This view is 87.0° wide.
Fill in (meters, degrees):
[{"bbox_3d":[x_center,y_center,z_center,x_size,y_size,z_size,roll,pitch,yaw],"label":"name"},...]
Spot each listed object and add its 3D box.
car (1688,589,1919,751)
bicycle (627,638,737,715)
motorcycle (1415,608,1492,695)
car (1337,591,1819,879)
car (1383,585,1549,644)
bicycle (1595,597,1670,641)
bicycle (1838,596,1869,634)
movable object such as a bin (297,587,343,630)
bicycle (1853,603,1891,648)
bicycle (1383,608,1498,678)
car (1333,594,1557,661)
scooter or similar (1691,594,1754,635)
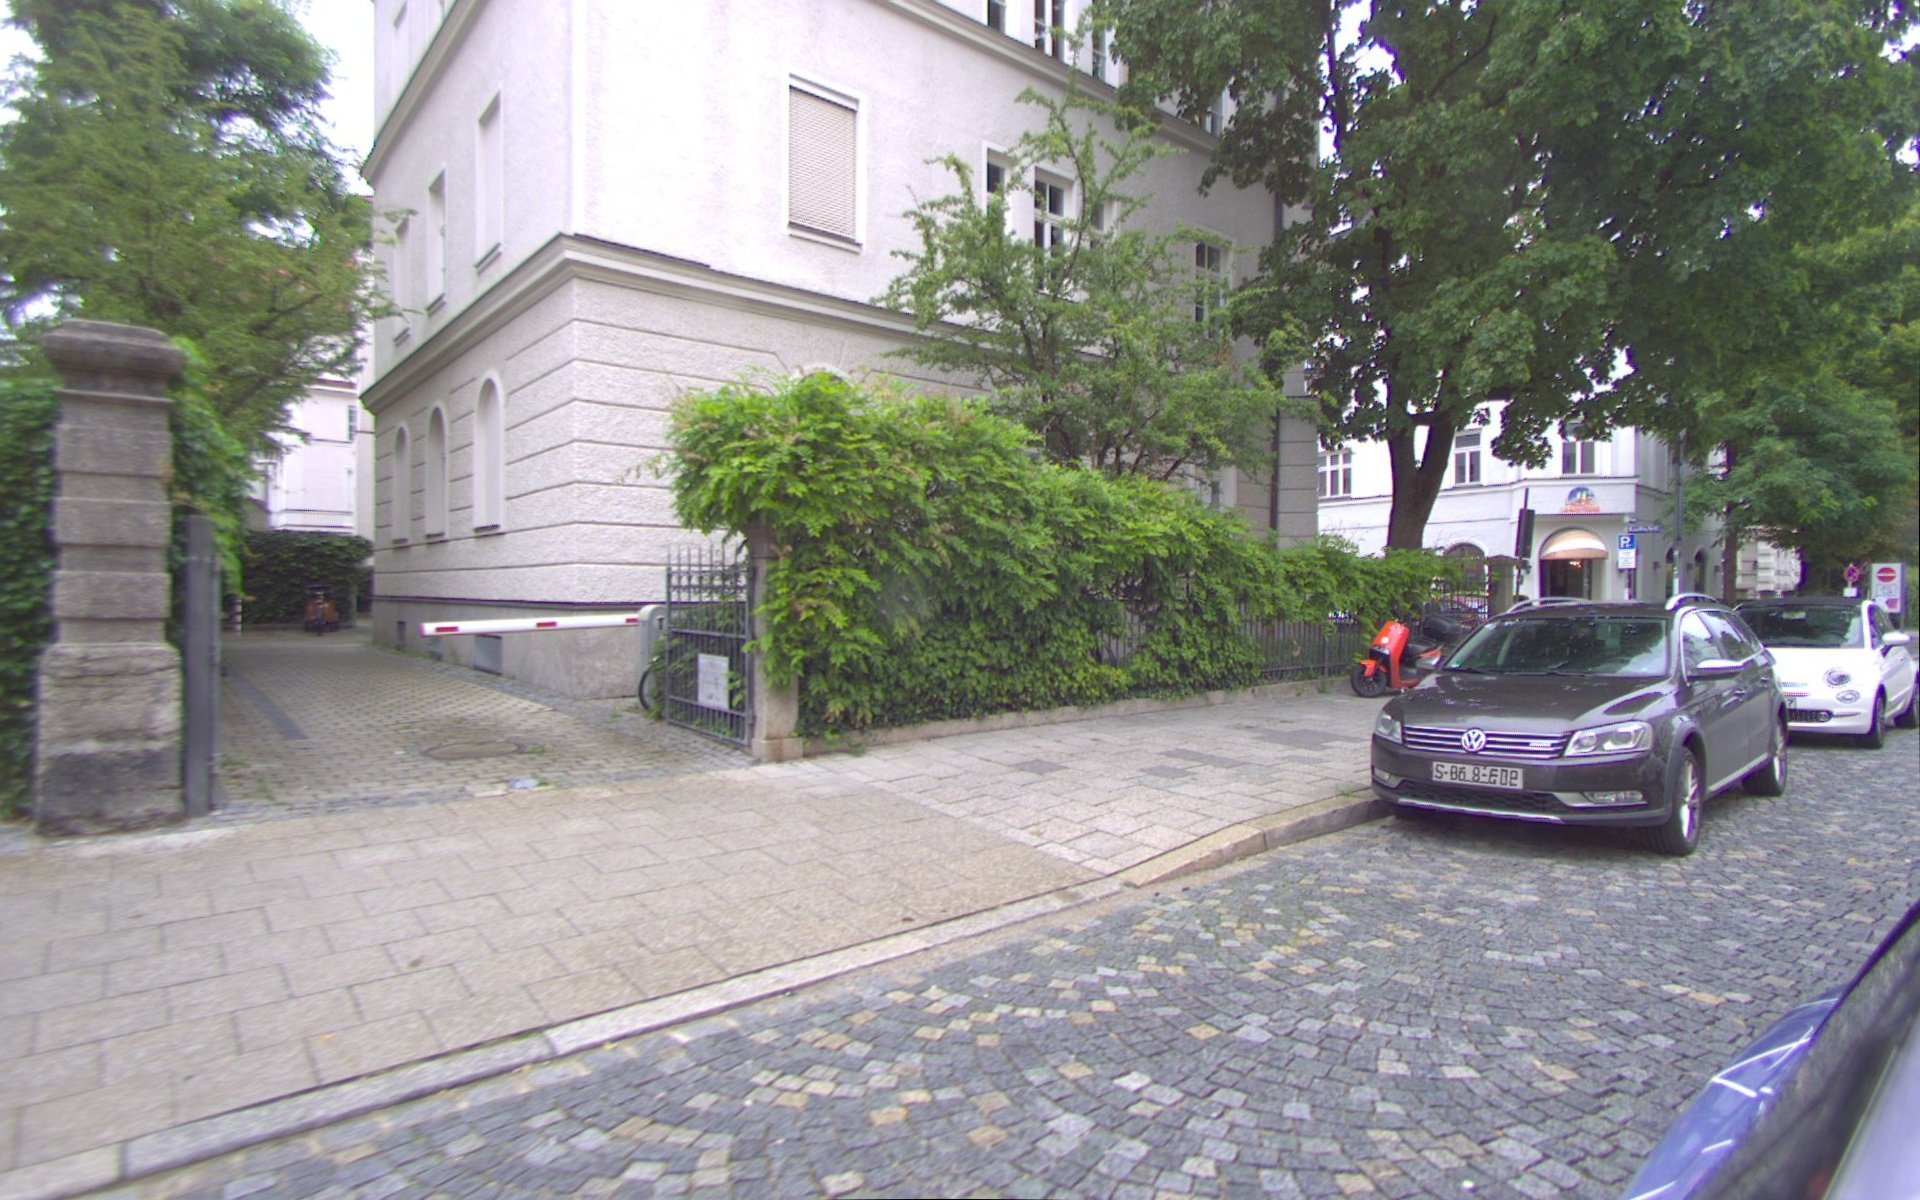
[{"bbox_3d":[9.508,0.631,11.159,3.727,1.489,1.505,-1,1,-39],"label":"car"},{"bbox_3d":[-2.720,0.736,9.952,1.019,0.687,0.261,0,0,-39],"label":"bicycle"},{"bbox_3d":[6.693,0.667,13.702,1.378,1.104,0.363,-1,0,-38],"label":"motorcycle"},{"bbox_3d":[4.669,0.716,7.310,4.552,1.440,1.650,-1,-3,-42],"label":"car"},{"bbox_3d":[14.934,0.392,30.092,1.867,1.617,4.093,-1,0,-28],"label":"car"},{"bbox_3d":[18.931,0.520,28.515,0.726,1.082,1.606,-4,5,-37],"label":"bicycle"},{"bbox_3d":[30.324,0.513,34.351,1.700,1.212,0.429,-1,5,-40],"label":"bicycle"},{"bbox_3d":[-17.601,0.233,27.857,0.974,1.149,1.442,0,0,-29],"label":"movable object such as a bin"},{"bbox_3d":[24.693,0.676,27.380,1.559,1.161,0.389,-1,0,-34],"label":"bicycle"},{"bbox_3d":[8.478,0.729,17.946,0.551,1.138,1.846,0,1,-30],"label":"bicycle"},{"bbox_3d":[11.133,0.564,23.576,1.726,1.375,4.485,0,1,-32],"label":"car"},{"bbox_3d":[23.231,0.428,30.880,0.396,1.187,1.611,0,1,-17],"label":"scooter or similar"}]
